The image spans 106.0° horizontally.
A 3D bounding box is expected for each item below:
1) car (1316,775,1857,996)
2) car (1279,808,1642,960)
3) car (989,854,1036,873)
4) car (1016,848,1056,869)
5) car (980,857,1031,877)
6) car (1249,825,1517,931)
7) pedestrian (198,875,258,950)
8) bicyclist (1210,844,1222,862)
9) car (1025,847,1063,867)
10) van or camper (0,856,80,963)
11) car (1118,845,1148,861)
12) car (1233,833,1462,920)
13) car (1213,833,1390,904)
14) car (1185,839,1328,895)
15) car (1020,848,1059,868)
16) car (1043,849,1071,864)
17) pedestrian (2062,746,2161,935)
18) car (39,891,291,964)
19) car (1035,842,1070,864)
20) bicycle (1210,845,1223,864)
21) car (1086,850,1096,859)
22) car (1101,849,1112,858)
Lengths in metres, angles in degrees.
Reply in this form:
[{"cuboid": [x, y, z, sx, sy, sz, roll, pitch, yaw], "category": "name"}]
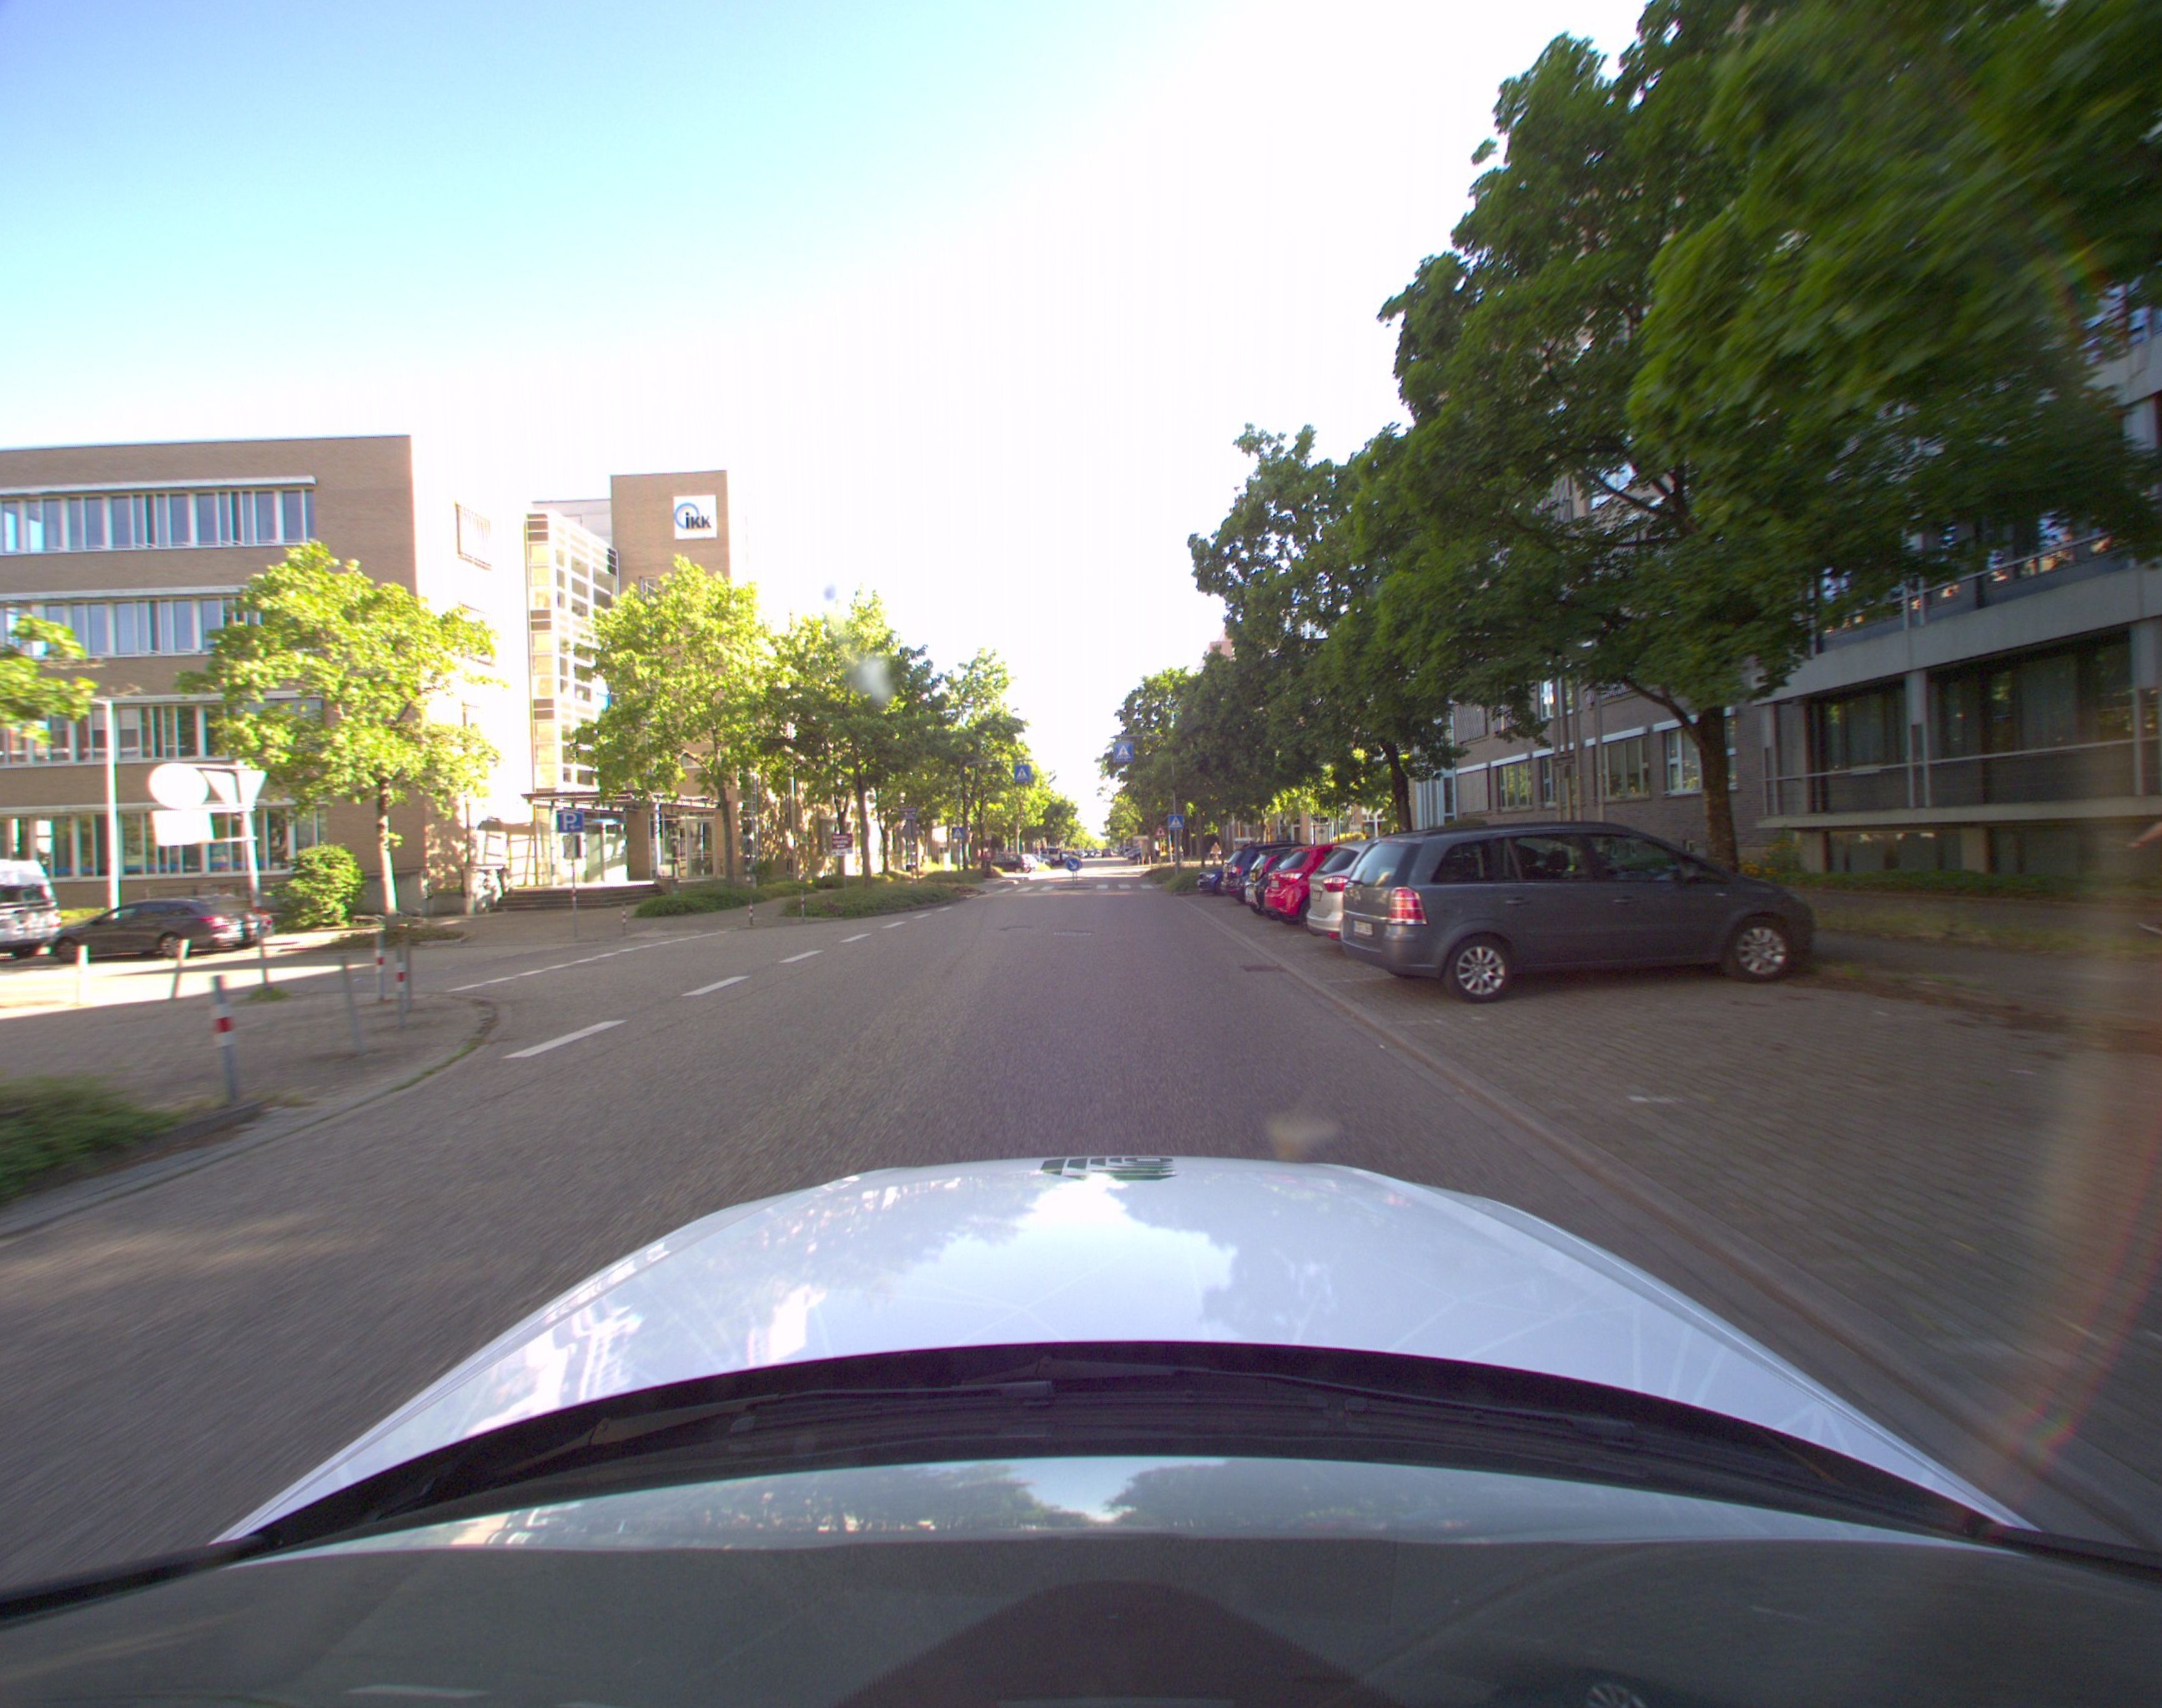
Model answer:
[{"cuboid": [4.874, 0.277, 8.300, 4.339, 1.704, 1.812, -4, 0, -2], "category": "car"}, {"cuboid": [5.132, 0.381, 11.424, 4.179, 1.668, 1.812, -4, 0, -2], "category": "car"}, {"cuboid": [-5.684, 0.783, 67.698, 3.841, 1.473, 1.810, -1, 0, -5], "category": "car"}, {"cuboid": [-4.822, 0.450, 87.834, 3.967, 2.013, 2.003, -3, 0, 5], "category": "car"}, {"cuboid": [-5.824, 0.964, 63.076, 3.837, 1.473, 1.812, -1, 0, -2], "category": "car"}, {"cuboid": [5.393, 0.409, 14.925, 4.179, 1.536, 1.812, -4, 0, -2], "category": "car"}, {"cuboid": [-24.125, 1.631, 23.050, 0.782, 2.013, 0.811, -2, 0, -6], "category": "pedestrian"}, {"cuboid": [9.004, -0.070, 54.287, 0.693, 1.214, 0.948, -3, 0, 12], "category": "bicyclist"}, {"cuboid": [-4.240, 0.331, 93.339, 3.967, 2.013, 2.003, -3, 0, 5], "category": "car"}, {"cuboid": [-30.107, 1.543, 21.155, 5.349, 2.674, 2.181, -3, 1, 1], "category": "van or camper"}, {"cuboid": [7.179, -0.132, 112.765, 3.974, 2.013, 2.000, -3, 0, 0], "category": "car"}, {"cuboid": [5.513, 0.452, 17.196, 4.179, 1.448, 1.812, -4, 0, -2], "category": "car"}, {"cuboid": [5.813, 0.373, 21.792, 4.179, 1.536, 1.812, -4, 0, -2], "category": "car"}, {"cuboid": [5.637, 0.403, 26.470, 4.179, 1.473, 1.812, -4, 0, -2], "category": "car"}, {"cuboid": [-4.580, 0.448, 90.676, 3.967, 2.013, 2.003, -3, 0, 5], "category": "car"}, {"cuboid": [-3.465, 0.308, 117.725, 3.974, 2.013, 2.000, -3, 0, 0], "category": "car"}, {"cuboid": [10.296, -0.136, 7.676, 0.605, 1.745, 1.191, -3, 0, 2], "category": "pedestrian"}, {"cuboid": [-23.405, 1.846, 20.947, 4.176, 1.477, 2.001, -3, 1, 2], "category": "car"}, {"cuboid": [-3.428, -0.101, 98.648, 3.966, 2.541, 1.866, -1, 0, 6], "category": "car"}, {"cuboid": [9.012, 0.040, 54.290, 0.679, 1.214, 1.983, -3, 0, 13], "category": "bicycle"}, {"cuboid": [1.955, 0.115, 155.636, 1.806, 1.525, 4.003, -3, 0, 2], "category": "car"}, {"cuboid": [4.800, -0.126, 150.840, 1.986, 1.640, 4.002, -1, 0, 2], "category": "car"}]
